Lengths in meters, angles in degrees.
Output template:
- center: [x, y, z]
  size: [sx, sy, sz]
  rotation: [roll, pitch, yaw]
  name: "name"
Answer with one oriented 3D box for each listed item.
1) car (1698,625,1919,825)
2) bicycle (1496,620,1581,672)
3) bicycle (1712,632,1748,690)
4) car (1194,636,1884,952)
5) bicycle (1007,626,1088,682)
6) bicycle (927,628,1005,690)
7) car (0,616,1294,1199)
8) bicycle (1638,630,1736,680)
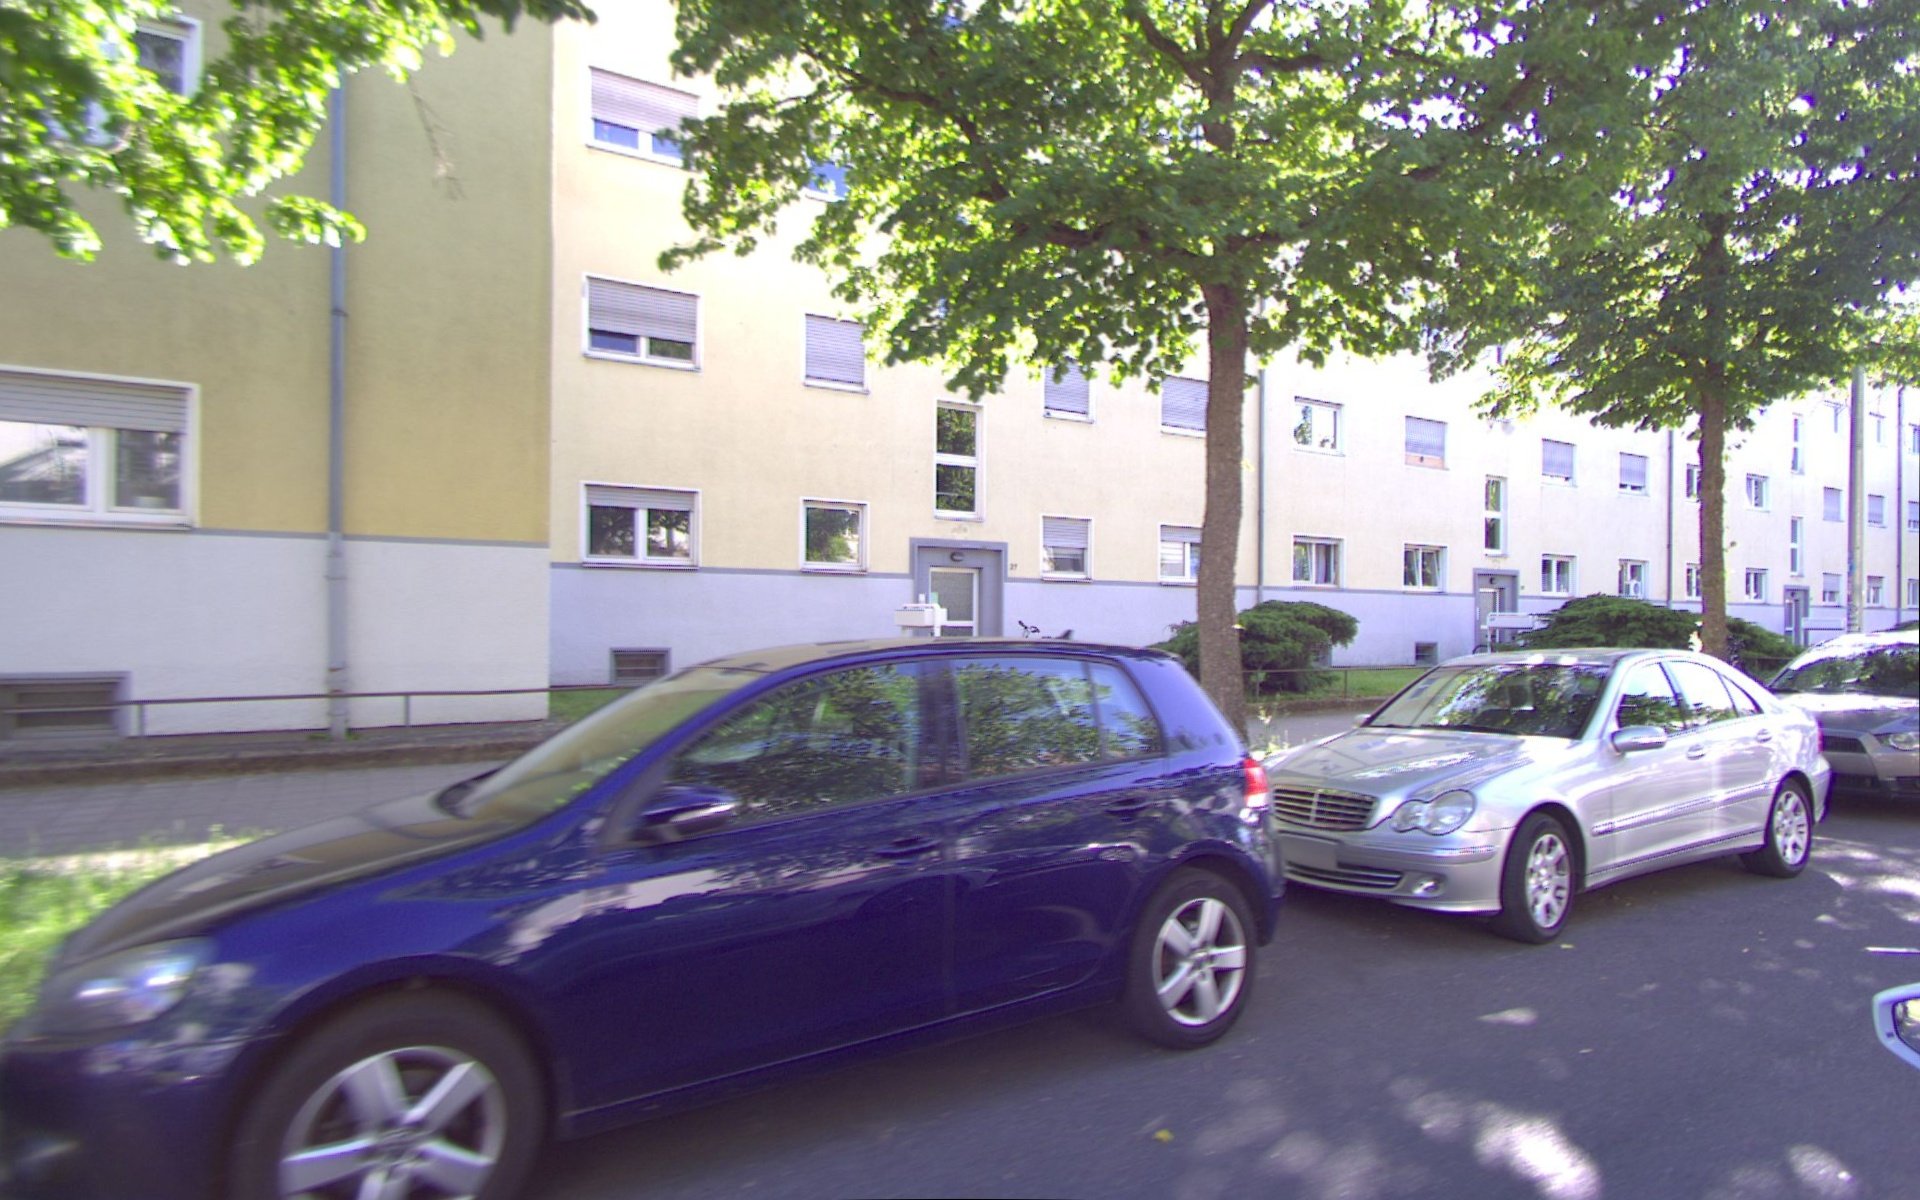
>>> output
- center: [8.883, 1.025, 9.354]
  size: [4.217, 1.535, 1.614]
  rotation: [1, -3, -29]
  name: "car"
- center: [14.254, 1.124, 24.794]
  size: [0.480, 1.161, 1.833]
  rotation: [2, 1, -26]
  name: "bicycle"
- center: [15.642, 1.219, 20.422]
  size: [0.479, 1.095, 1.839]
  rotation: [3, 1, 36]
  name: "bicycle"
- center: [3.816, 0.933, 6.397]
  size: [4.618, 1.387, 1.737]
  rotation: [1, -2, -30]
  name: "car"
- center: [1.525, 0.926, 17.750]
  size: [0.477, 0.943, 1.620]
  rotation: [1, -1, -37]
  name: "bicycle"
- center: [0.075, 0.920, 16.189]
  size: [0.476, 0.943, 1.623]
  rotation: [1, -1, -32]
  name: "bicycle"
- center: [-0.811, 0.806, 3.583]
  size: [3.885, 1.478, 1.657]
  rotation: [1, -1, -30]
  name: "car"
- center: [16.971, 1.256, 23.493]
  size: [0.481, 1.095, 1.829]
  rotation: [1, -1, -32]
  name: "bicycle"
